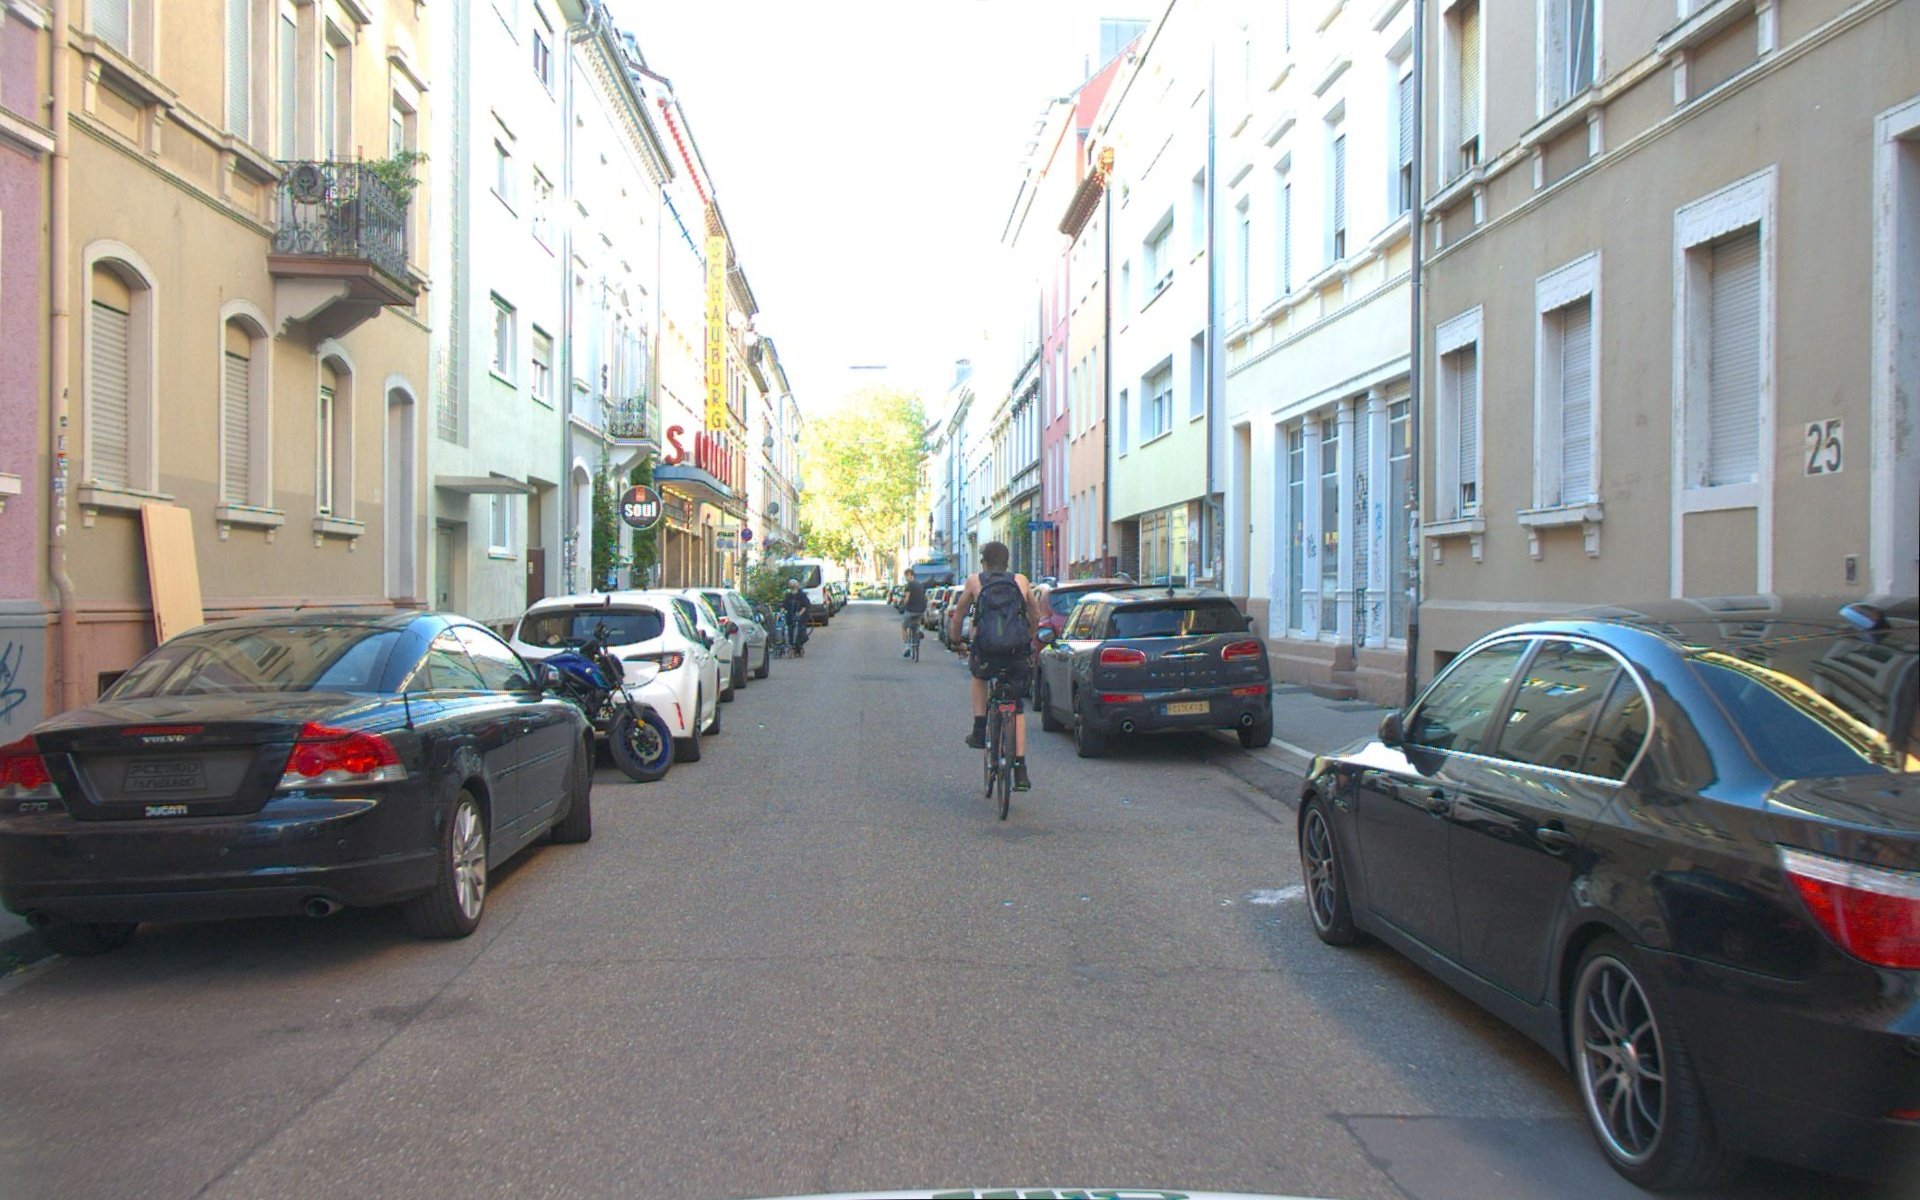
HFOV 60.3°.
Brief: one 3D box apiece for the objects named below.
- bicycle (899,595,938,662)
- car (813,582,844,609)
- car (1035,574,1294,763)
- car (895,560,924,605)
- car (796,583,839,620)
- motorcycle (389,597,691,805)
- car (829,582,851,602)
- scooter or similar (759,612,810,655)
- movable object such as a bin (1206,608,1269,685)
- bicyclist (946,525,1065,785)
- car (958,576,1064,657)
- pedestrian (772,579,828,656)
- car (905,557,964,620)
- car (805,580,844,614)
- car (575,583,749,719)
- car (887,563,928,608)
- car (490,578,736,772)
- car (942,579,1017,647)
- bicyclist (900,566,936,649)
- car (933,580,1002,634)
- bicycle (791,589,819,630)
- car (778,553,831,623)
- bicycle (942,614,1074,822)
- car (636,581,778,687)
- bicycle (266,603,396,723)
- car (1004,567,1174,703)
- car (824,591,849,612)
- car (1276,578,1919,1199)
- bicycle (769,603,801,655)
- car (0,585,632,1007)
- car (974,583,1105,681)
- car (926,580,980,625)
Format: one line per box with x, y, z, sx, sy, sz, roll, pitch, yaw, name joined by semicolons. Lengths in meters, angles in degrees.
-0.850;0.548;33.362;0.688;1.229;2.341;-1;1;-4;bicycle
-7.589;-0.276;95.446;1.639;1.467;4.162;-2;0;-3;car
1.847;0.578;16.162;1.781;1.548;3.997;-2;0;-3;car
-4.545;-1.528;146.924;2.262;3.833;6.765;-2;0;-3;car
-5.951;0.057;69.450;1.639;1.467;4.162;-2;0;-3;car
-3.159;0.723;12.496;2.116;1.383;0.537;-3;1;-22;motorcycle
-9.468;-0.621;130.709;1.639;1.467;4.162;-2;0;-3;car
-3.700;0.709;34.893;0.763;0.888;0.762;1;0;-39;scooter or similar
4.133;0.684;24.692;0.790;1.094;0.677;-3;0;1;movable object such as a bin
0.289;0.353;11.191;0.688;1.662;1.089;1;0;-3;bicyclist
0.931;0.295;32.198;1.677;1.407;3.997;-2;0;-3;car
-3.392;0.361;35.164;0.891;1.606;0.762;1;0;-39;pedestrian
-1.205;-0.494;74.207;2.262;2.582;6.765;-2;0;-3;car
-6.279;-0.125;76.942;1.639;1.467;4.162;-2;0;-3;car
-3.592;0.566;20.500;1.639;1.467;3.765;-2;0;-3;car
-3.201;-0.848;99.566;2.262;2.582;6.765;-2;0;-3;car
-3.031;0.589;15.191;1.639;1.467;4.161;-2;0;-5;car
0.443;0.313;41.787;1.588;1.577;3.997;-2;0;-3;car
-0.850;0.148;33.263;0.688;1.633;0.812;-1;1;-4;bicyclist
0.181;0.182;47.231;1.677;1.418;3.997;-2;0;-3;car
-4.660;0.272;49.563;0.743;1.184;2.271;1;0;-7;bicycle
-5.860;-0.465;62.428;1.872;2.540;4.161;-1;1;-5;car
0.283;0.741;11.353;0.688;1.229;2.341;1;0;-3;bicycle
-3.866;0.489;25.800;1.638;1.467;3.753;-2;0;-1;car
-6.261;0.595;16.568;0.581;1.108;2.078;1;0;-3;bicycle
1.606;0.417;21.906;1.677;1.583;3.997;-2;0;-3;car
-8.806;0.102;118.156;1.639;1.467;4.162;-2;0;-3;car
2.560;0.688;5.579;1.781;1.463;4.787;-2;0;-3;car
-3.963;0.632;37.355;0.686;1.125;2.271;1;0;-7;bicycle
-2.878;0.692;8.161;1.676;1.407;4.355;-2;1;-1;car
1.219;0.481;26.963;1.677;1.407;3.997;-2;0;-3;car
-0.285;0.085;58.600;1.677;1.472;3.997;-2;0;-3;car
